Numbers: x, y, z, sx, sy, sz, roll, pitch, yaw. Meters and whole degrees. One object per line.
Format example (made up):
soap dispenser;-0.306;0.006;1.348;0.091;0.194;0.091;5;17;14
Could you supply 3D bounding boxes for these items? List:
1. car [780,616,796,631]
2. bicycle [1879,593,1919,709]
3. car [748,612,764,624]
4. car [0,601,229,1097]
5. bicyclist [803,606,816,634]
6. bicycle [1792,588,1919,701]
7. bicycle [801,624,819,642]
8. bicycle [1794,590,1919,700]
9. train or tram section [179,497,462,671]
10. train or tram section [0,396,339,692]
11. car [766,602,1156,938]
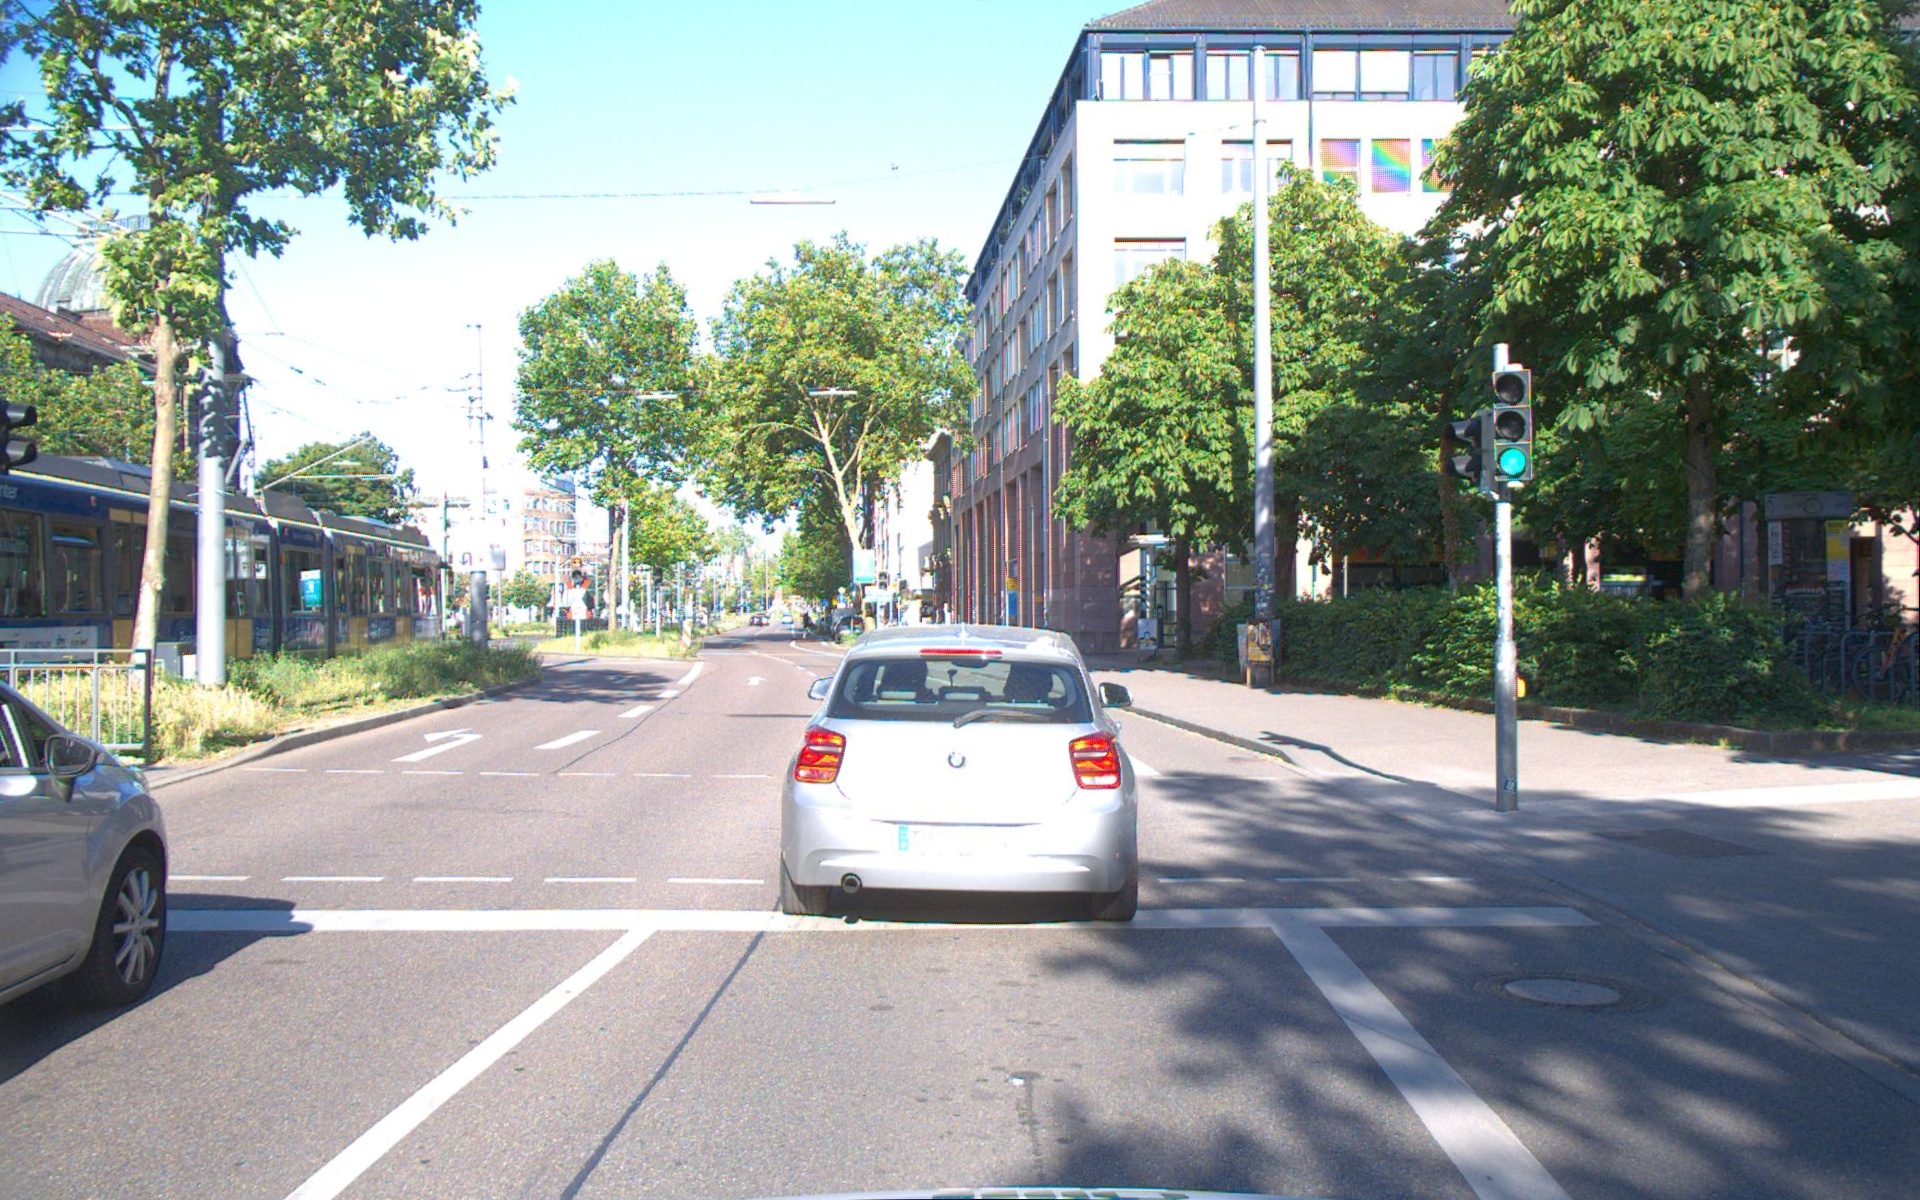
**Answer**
car;-25.689;3.537;247.606;1.953;2.049;3.999;1;-2;-1
bicycle;11.959;0.559;19.455;1.956;1.337;0.573;-2;-1;-3
car;-26.532;2.351;215.192;1.956;1.512;3.992;0;0;-8
car;-3.572;0.708;4.627;1.628;1.434;3.628;1;-1;-4
bicyclist;-9.252;1.220;101.589;0.644;1.686;0.765;-1;-1;4
bicycle;11.542;0.541;20.692;1.956;1.337;0.573;-2;-1;-3
bicycle;-9.193;1.997;101.654;0.814;1.059;1.875;-1;0;4
bicycle;11.892;0.568;21.324;1.956;1.337;0.573;-2;-1;-3
train or tram section;-14.379;-0.152;38.672;2.859;3.317;13.092;1;-2;-7
train or tram section;-12.797;-0.517;24.253;2.858;3.317;15.871;1;-2;-6
car;0.070;0.748;9.193;1.694;1.415;3.841;1;0;2
